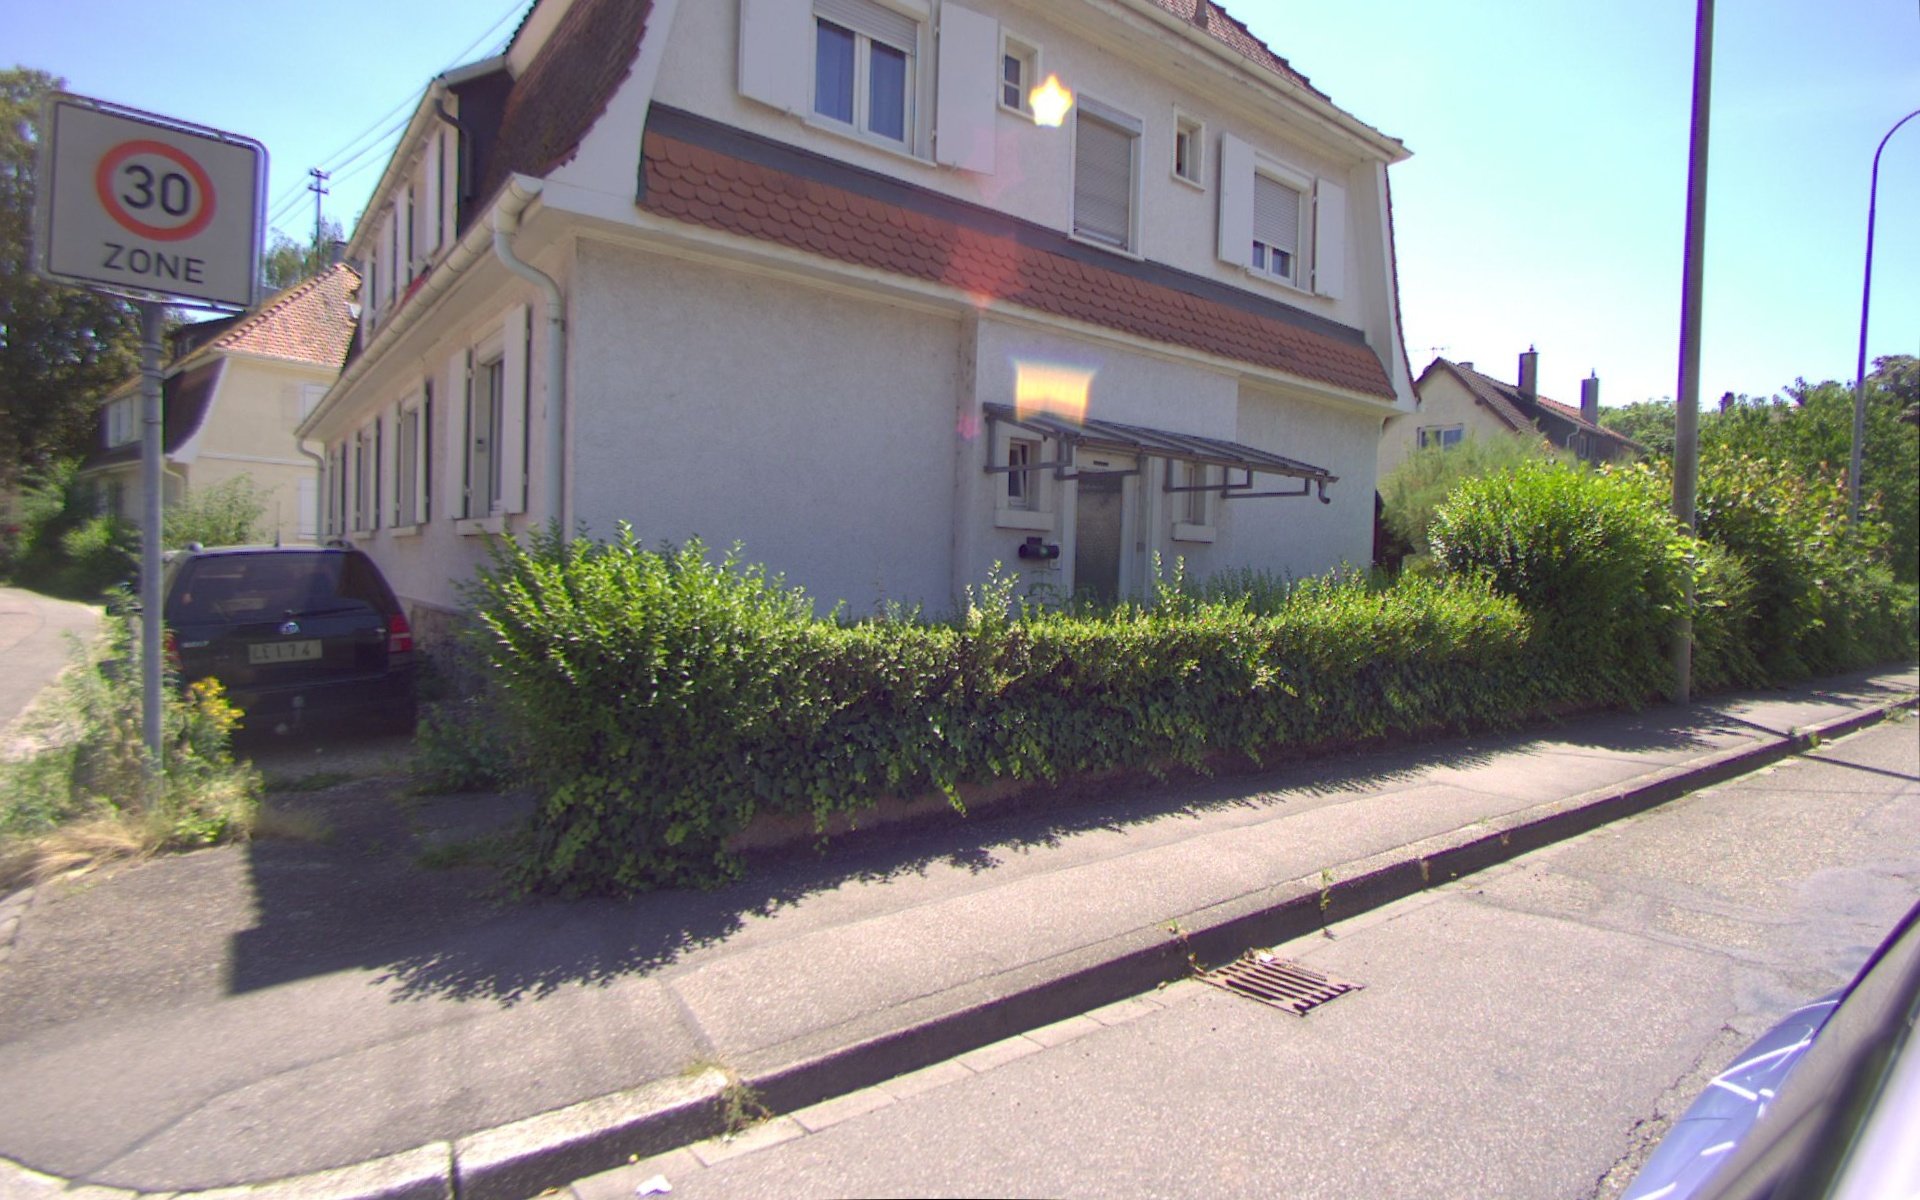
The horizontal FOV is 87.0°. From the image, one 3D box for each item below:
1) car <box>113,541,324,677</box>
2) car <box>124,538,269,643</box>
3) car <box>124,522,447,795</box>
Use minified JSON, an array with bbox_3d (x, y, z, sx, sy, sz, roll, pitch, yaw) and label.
[{"bbox_3d":[-9.437,-0.002,12.781,1.665,1.430,3.744,-1,4,-44],"label":"car"},{"bbox_3d":[-12.105,-0.201,16.210,1.661,1.469,3.753,-1,2,-35],"label":"car"},{"bbox_3d":[-5.355,0.267,7.837,1.663,1.555,4.005,-1,2,-39],"label":"car"}]
